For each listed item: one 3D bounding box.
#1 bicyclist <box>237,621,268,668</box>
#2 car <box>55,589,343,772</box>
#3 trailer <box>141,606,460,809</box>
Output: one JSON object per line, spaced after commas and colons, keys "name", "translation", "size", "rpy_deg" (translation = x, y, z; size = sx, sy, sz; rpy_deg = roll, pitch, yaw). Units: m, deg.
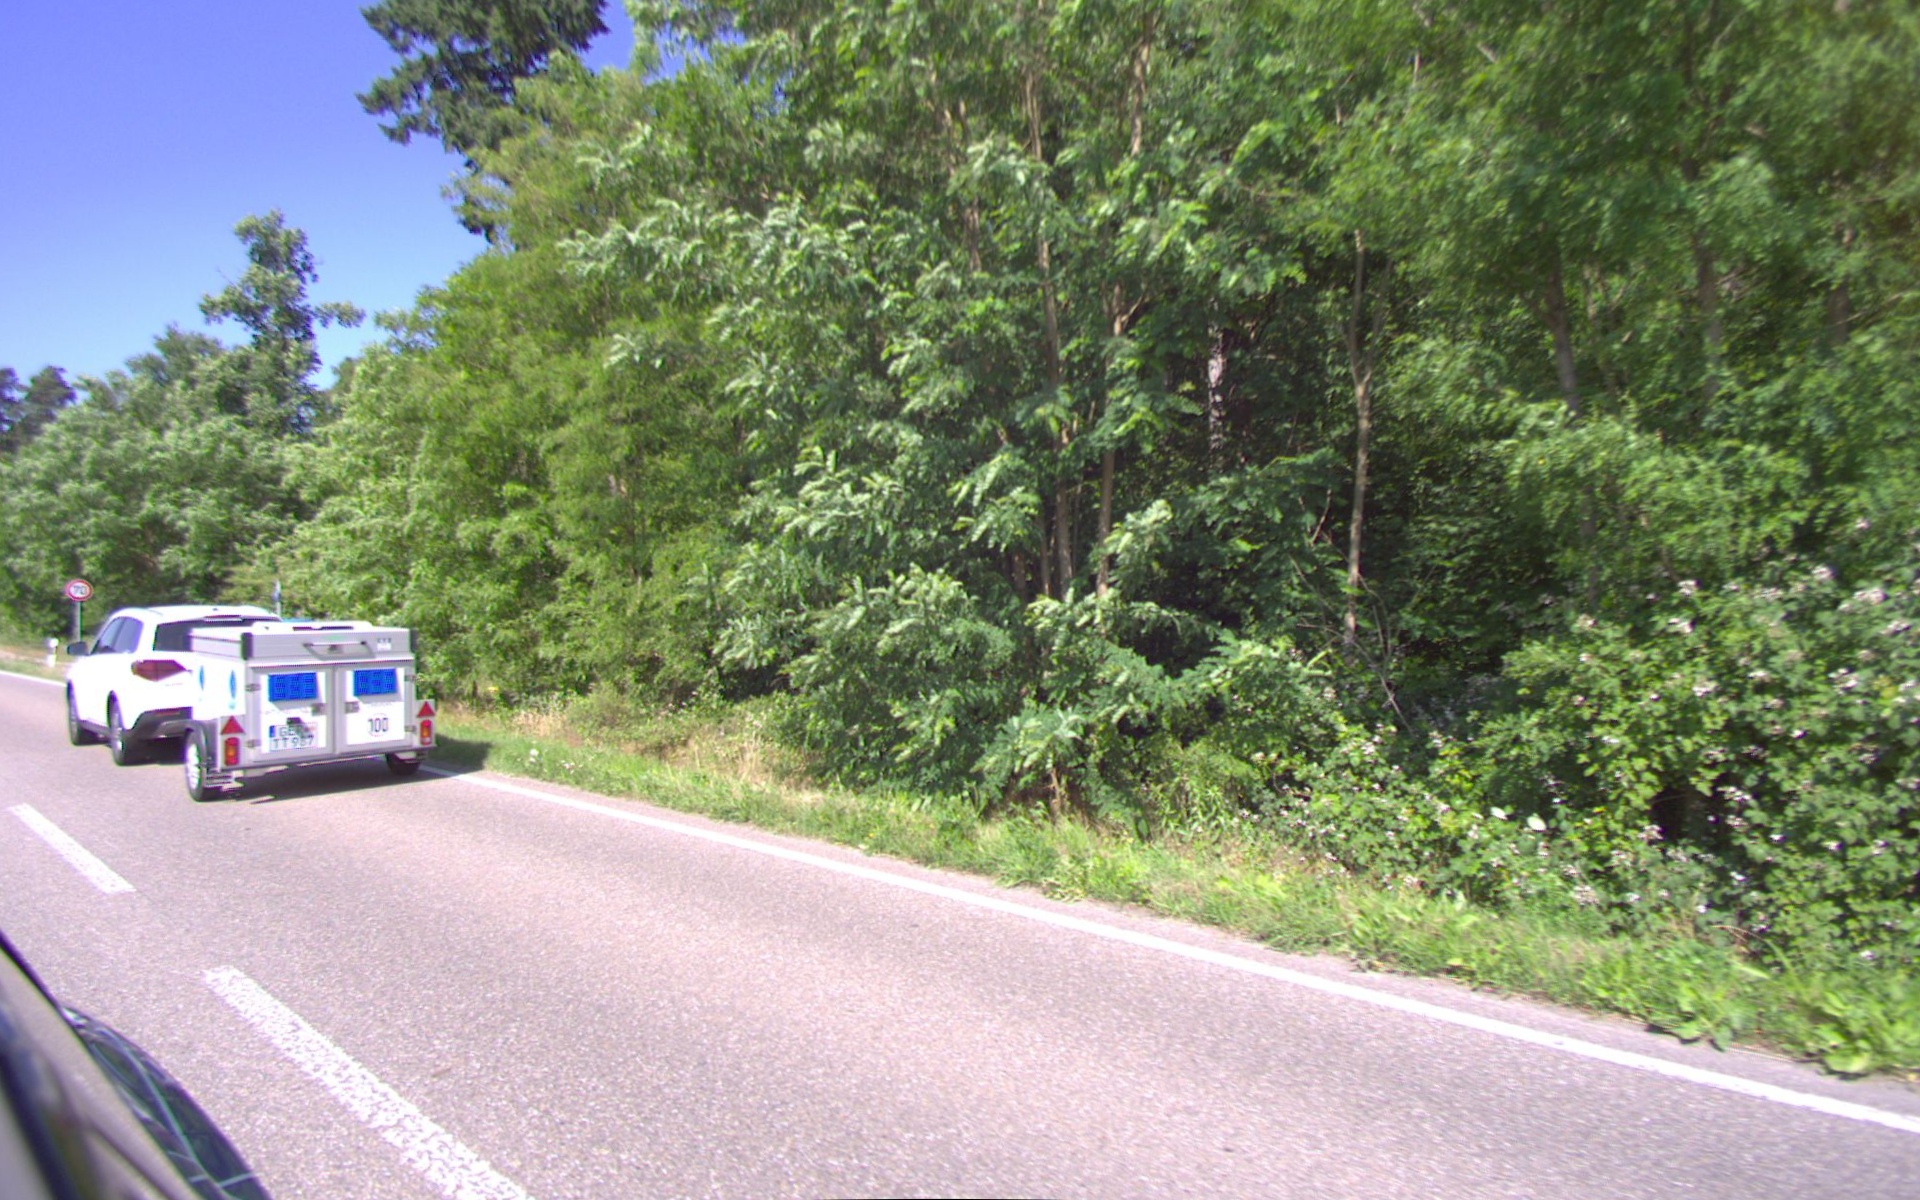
{"name": "bicyclist", "translation": [-22.068, 1.388, 31.561], "size": [0.702, 1.426, 0.599], "rpy_deg": [0, -2, 41]}
{"name": "car", "translation": [-8.635, 0.822, 11.356], "size": [3.998, 1.689, 1.791], "rpy_deg": [-3, -2, 41]}
{"name": "trailer", "translation": [-5.891, 0.806, 8.924], "size": [3.267, 1.452, 1.543], "rpy_deg": [-2, -2, 41]}
